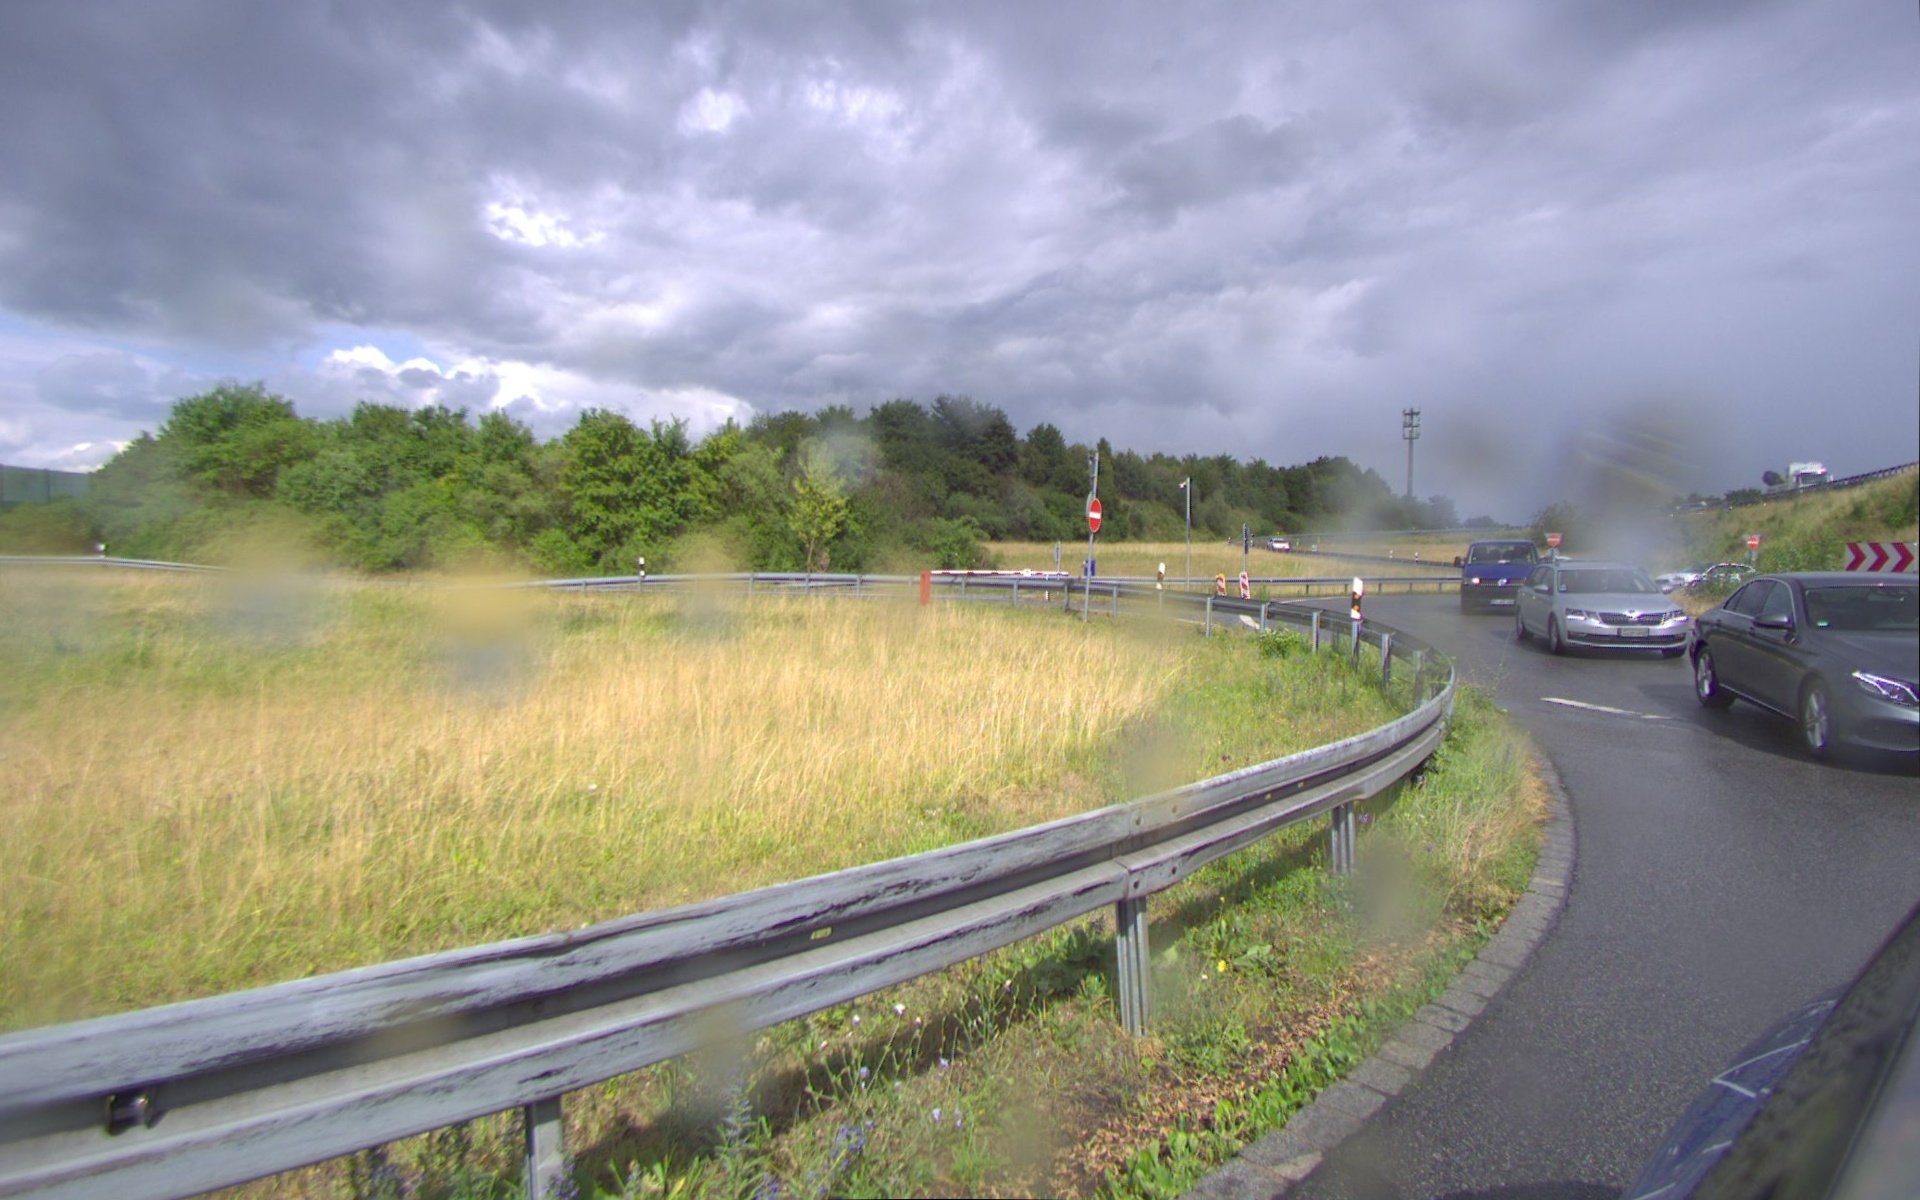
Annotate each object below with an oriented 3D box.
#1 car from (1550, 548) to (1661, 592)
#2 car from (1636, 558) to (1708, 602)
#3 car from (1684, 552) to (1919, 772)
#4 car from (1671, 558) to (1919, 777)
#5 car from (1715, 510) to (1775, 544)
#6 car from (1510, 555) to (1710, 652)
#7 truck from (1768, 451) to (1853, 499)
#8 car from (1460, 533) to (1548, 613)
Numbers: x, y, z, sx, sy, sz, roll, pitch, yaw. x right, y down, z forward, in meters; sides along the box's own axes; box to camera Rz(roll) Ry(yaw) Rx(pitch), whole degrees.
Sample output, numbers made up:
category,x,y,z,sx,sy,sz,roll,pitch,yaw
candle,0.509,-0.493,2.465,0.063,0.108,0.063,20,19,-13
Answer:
category,x,y,z,sx,sy,sz,roll,pitch,yaw
car,26.041,-1.246,40.847,3.917,1.503,1.733,-3,6,-20
car,30.504,-0.905,43.305,3.936,1.503,1.725,-7,8,-43
car,8.240,0.364,9.085,1.751,1.407,4.561,1,5,22
car,8.137,0.414,9.016,1.757,1.456,4.258,1,4,19
car,38.914,-3.644,50.126,3.936,1.503,1.725,-7,8,-43
car,10.571,-0.046,16.809,1.757,1.304,4.258,1,4,19
truck,81.289,-11.940,96.987,3.252,4.256,10.753,1,6,24
car,14.426,-0.799,26.719,1.766,1.900,4.541,2,4,31
